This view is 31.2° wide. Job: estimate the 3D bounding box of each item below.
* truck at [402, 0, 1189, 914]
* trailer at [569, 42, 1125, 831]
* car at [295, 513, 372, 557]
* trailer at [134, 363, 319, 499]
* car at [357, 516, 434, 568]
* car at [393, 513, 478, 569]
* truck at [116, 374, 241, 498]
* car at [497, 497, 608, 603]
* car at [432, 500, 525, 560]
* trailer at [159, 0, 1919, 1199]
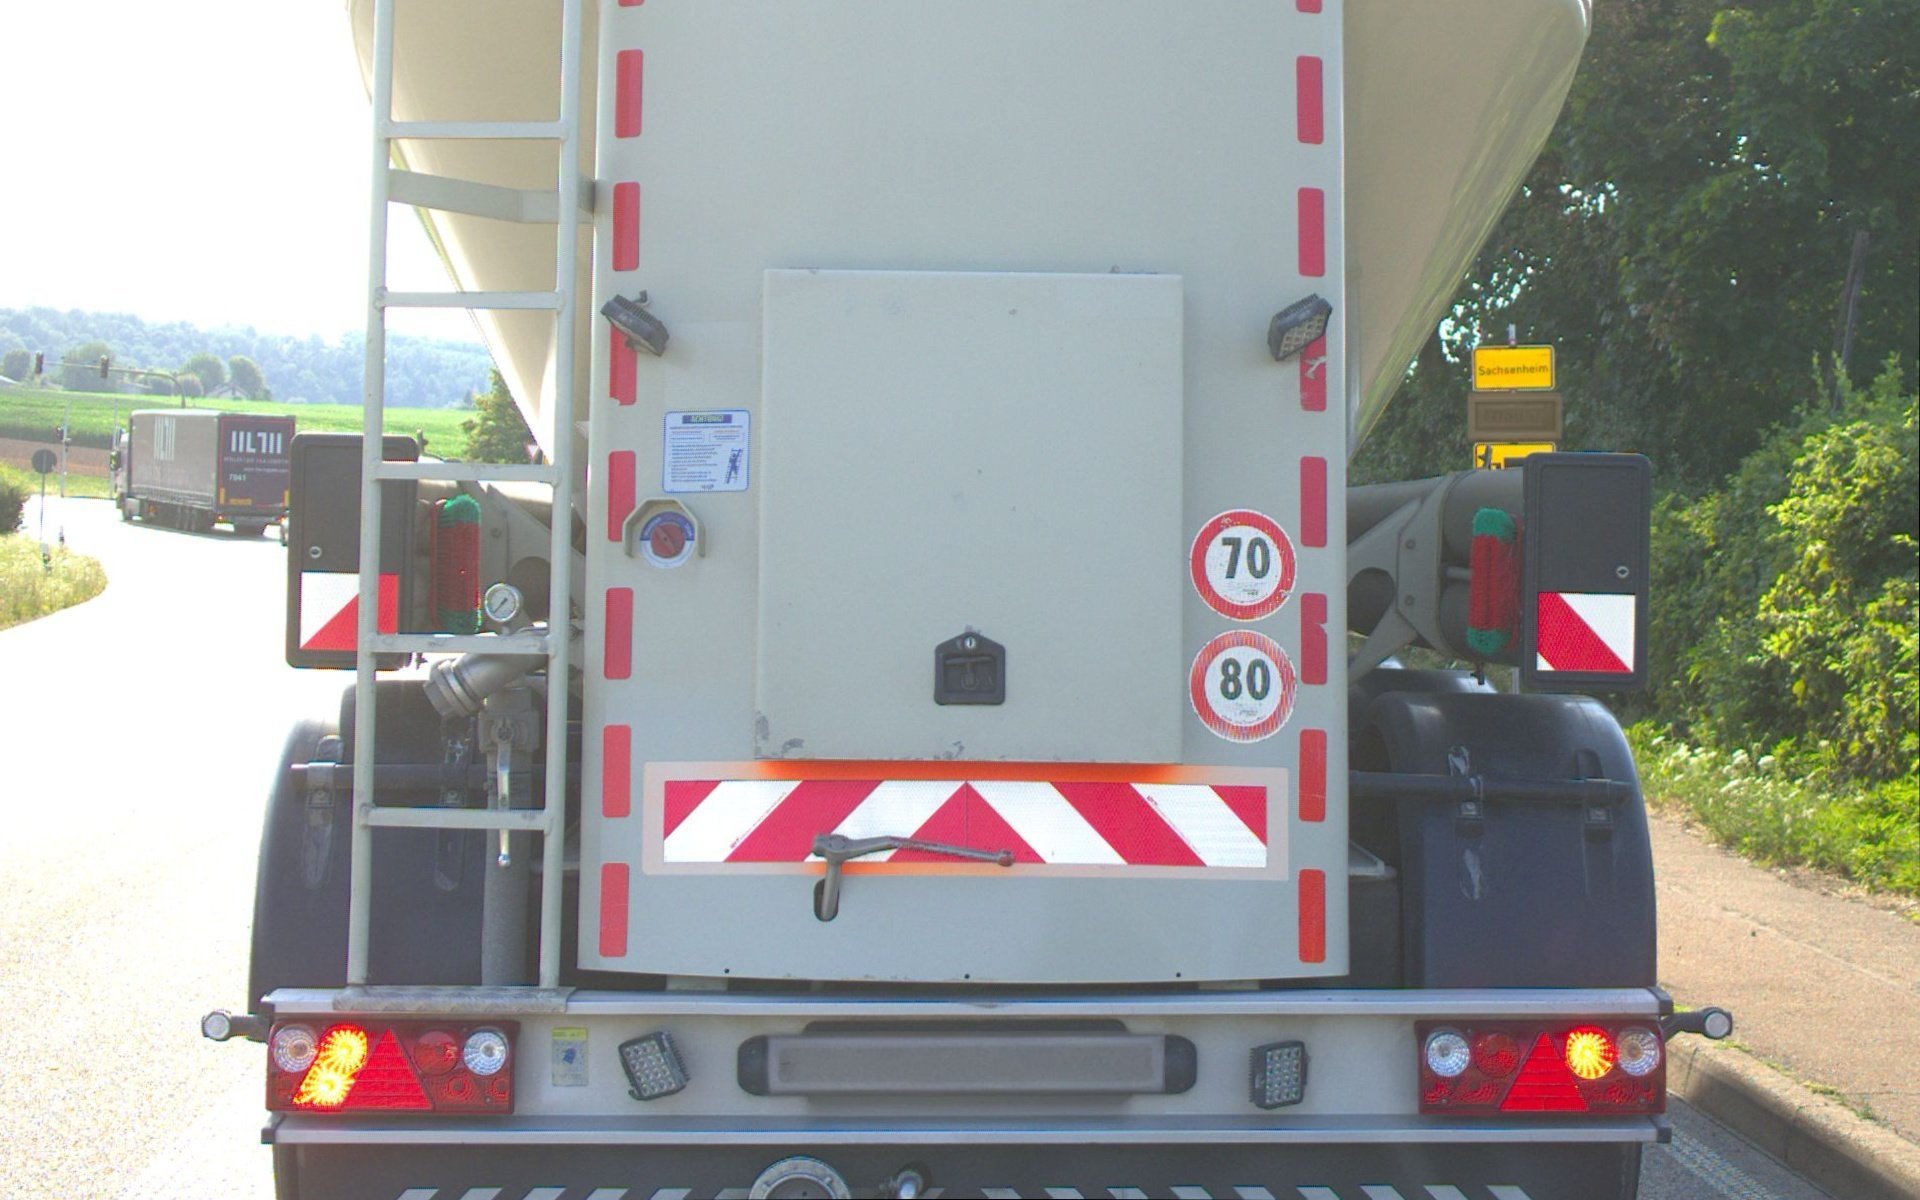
[{"bbox_3d":[-0.820,-0.858,14.901,2.909,3.992,4.061,1,1,-6],"label":"truck"},{"bbox_3d":[-0.682,-1.054,26.268,2.955,4.300,14.176,2,1,0],"label":"trailer"},{"bbox_3d":[-18.606,-1.931,102.081,1.769,1.201,3.427,-2,2,-18],"label":"car"},{"bbox_3d":[-25.638,-5.768,119.458,3.375,4.335,14.298,2,1,-24],"label":"trailer"},{"bbox_3d":[-15.744,-1.625,95.821,1.580,1.336,3.427,2,1,-18],"label":"car"},{"bbox_3d":[-13.395,-1.514,87.694,1.580,1.336,3.427,2,1,-18],"label":"car"},{"bbox_3d":[-28.914,-6.007,126.975,3.375,4.335,5.707,2,1,-24],"label":"truck"},{"bbox_3d":[-7.988,-0.993,67.176,1.861,2.007,3.720,1,1,-11],"label":"car"},{"bbox_3d":[-11.440,-1.675,81.479,1.580,1.336,3.427,2,1,-18],"label":"car"},{"bbox_3d":[-0.331,-0.735,10.485,2.909,3.992,9.932,1,1,-6],"label":"trailer"}]
